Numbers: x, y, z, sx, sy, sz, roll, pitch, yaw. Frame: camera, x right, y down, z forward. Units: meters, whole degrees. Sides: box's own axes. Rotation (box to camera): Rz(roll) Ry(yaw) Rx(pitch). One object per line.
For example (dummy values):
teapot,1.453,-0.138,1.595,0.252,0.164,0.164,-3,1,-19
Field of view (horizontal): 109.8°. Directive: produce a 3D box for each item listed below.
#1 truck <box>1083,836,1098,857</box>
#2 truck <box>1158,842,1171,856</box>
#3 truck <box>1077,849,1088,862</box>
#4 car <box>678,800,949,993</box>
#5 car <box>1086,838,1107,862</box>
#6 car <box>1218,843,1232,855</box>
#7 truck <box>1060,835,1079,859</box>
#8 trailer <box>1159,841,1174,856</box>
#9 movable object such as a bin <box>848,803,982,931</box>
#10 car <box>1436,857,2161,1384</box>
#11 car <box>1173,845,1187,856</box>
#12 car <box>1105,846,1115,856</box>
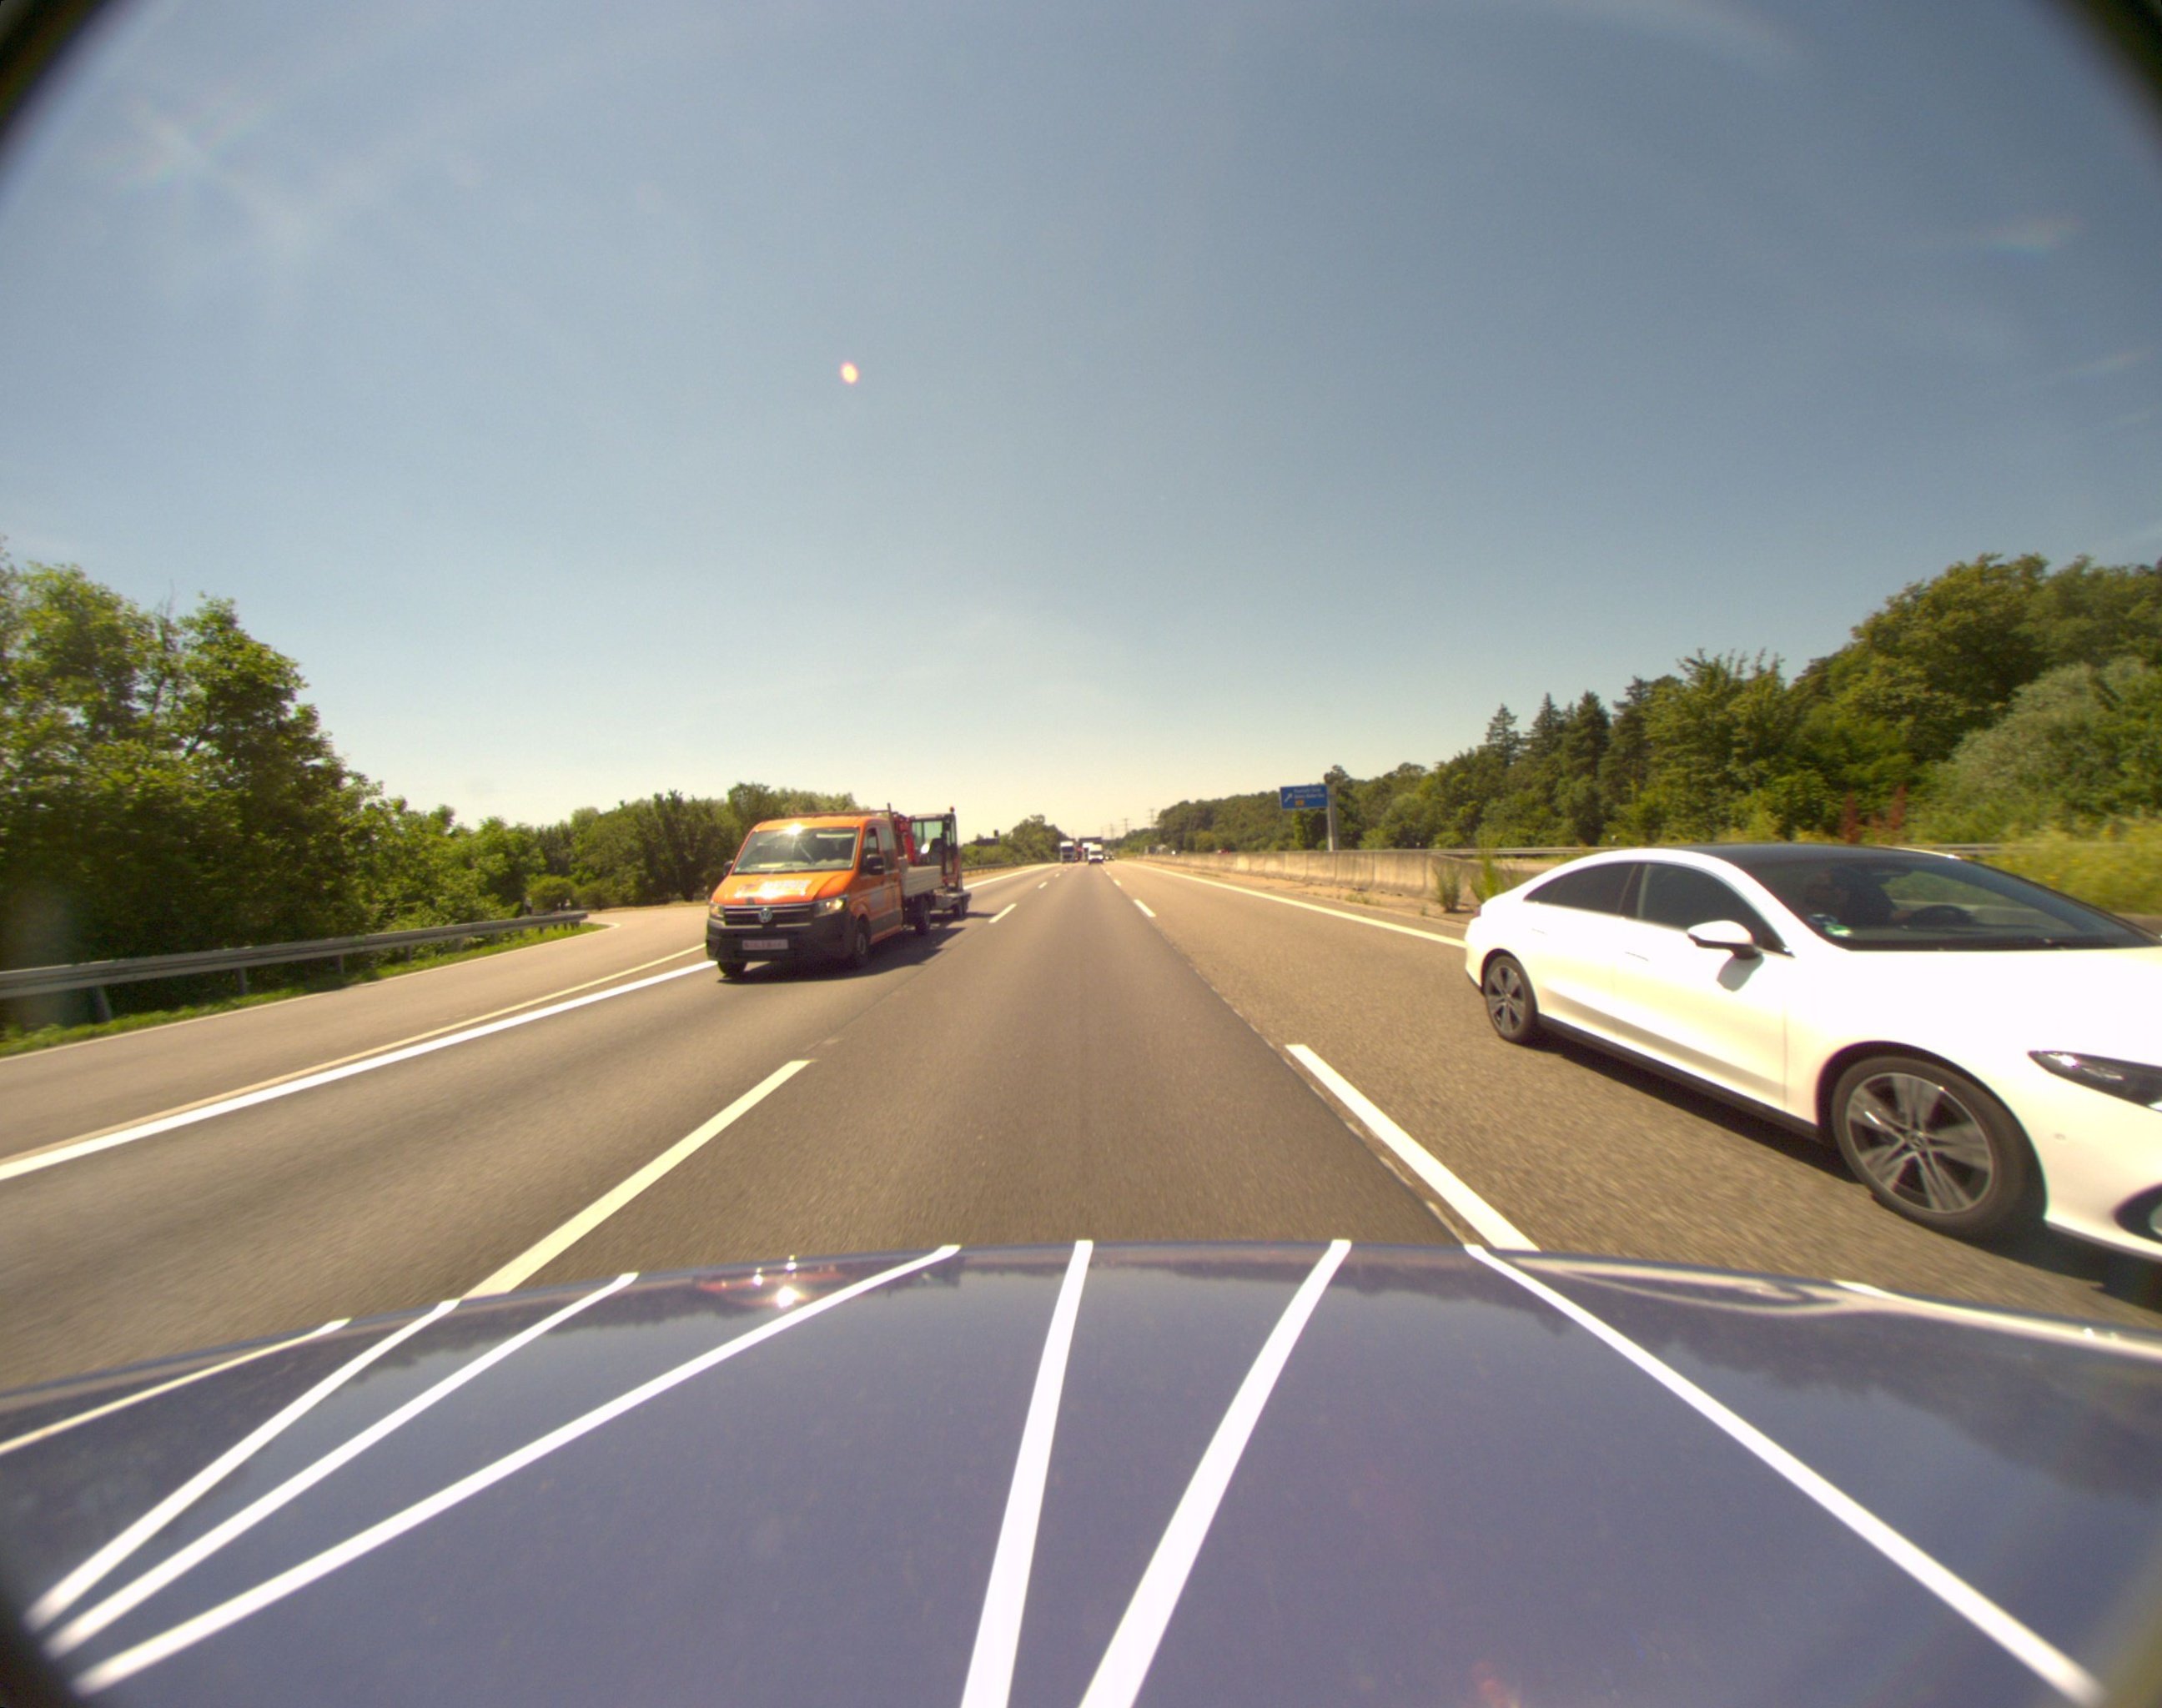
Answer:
truck,2.093,-1.657,164.471,2.700,4.231,8.244,-6,0,2
truck,24.840,-1.508,226.568,2.814,4.024,7.729,-6,0,0
truck,0.563,0.430,227.904,2.852,3.747,6.495,-6,0,1
car,-4.066,0.527,13.386,1.998,2.391,7.226,-3,0,1
car,2.193,-0.557,103.902,2.521,2.857,6.400,-6,0,2
car,26.533,-0.917,140.100,1.998,2.002,4.429,-3,0,2
truck,-2.164,-1.315,146.012,2.990,4.187,7.593,-3,0,2
trailer,24.962,-1.473,222.884,2.814,4.024,10.430,-6,0,0
movable object such as a bin,-4.048,0.282,19.506,2.179,2.799,4.761,-3,0,1
car,3.961,0.762,4.085,1.771,1.440,5.108,-2,0,1
car,19.088,-0.632,146.784,1.998,2.002,4.000,-6,0,1
car,6.122,-0.712,161.283,1.998,2.002,4.000,-2,0,1
